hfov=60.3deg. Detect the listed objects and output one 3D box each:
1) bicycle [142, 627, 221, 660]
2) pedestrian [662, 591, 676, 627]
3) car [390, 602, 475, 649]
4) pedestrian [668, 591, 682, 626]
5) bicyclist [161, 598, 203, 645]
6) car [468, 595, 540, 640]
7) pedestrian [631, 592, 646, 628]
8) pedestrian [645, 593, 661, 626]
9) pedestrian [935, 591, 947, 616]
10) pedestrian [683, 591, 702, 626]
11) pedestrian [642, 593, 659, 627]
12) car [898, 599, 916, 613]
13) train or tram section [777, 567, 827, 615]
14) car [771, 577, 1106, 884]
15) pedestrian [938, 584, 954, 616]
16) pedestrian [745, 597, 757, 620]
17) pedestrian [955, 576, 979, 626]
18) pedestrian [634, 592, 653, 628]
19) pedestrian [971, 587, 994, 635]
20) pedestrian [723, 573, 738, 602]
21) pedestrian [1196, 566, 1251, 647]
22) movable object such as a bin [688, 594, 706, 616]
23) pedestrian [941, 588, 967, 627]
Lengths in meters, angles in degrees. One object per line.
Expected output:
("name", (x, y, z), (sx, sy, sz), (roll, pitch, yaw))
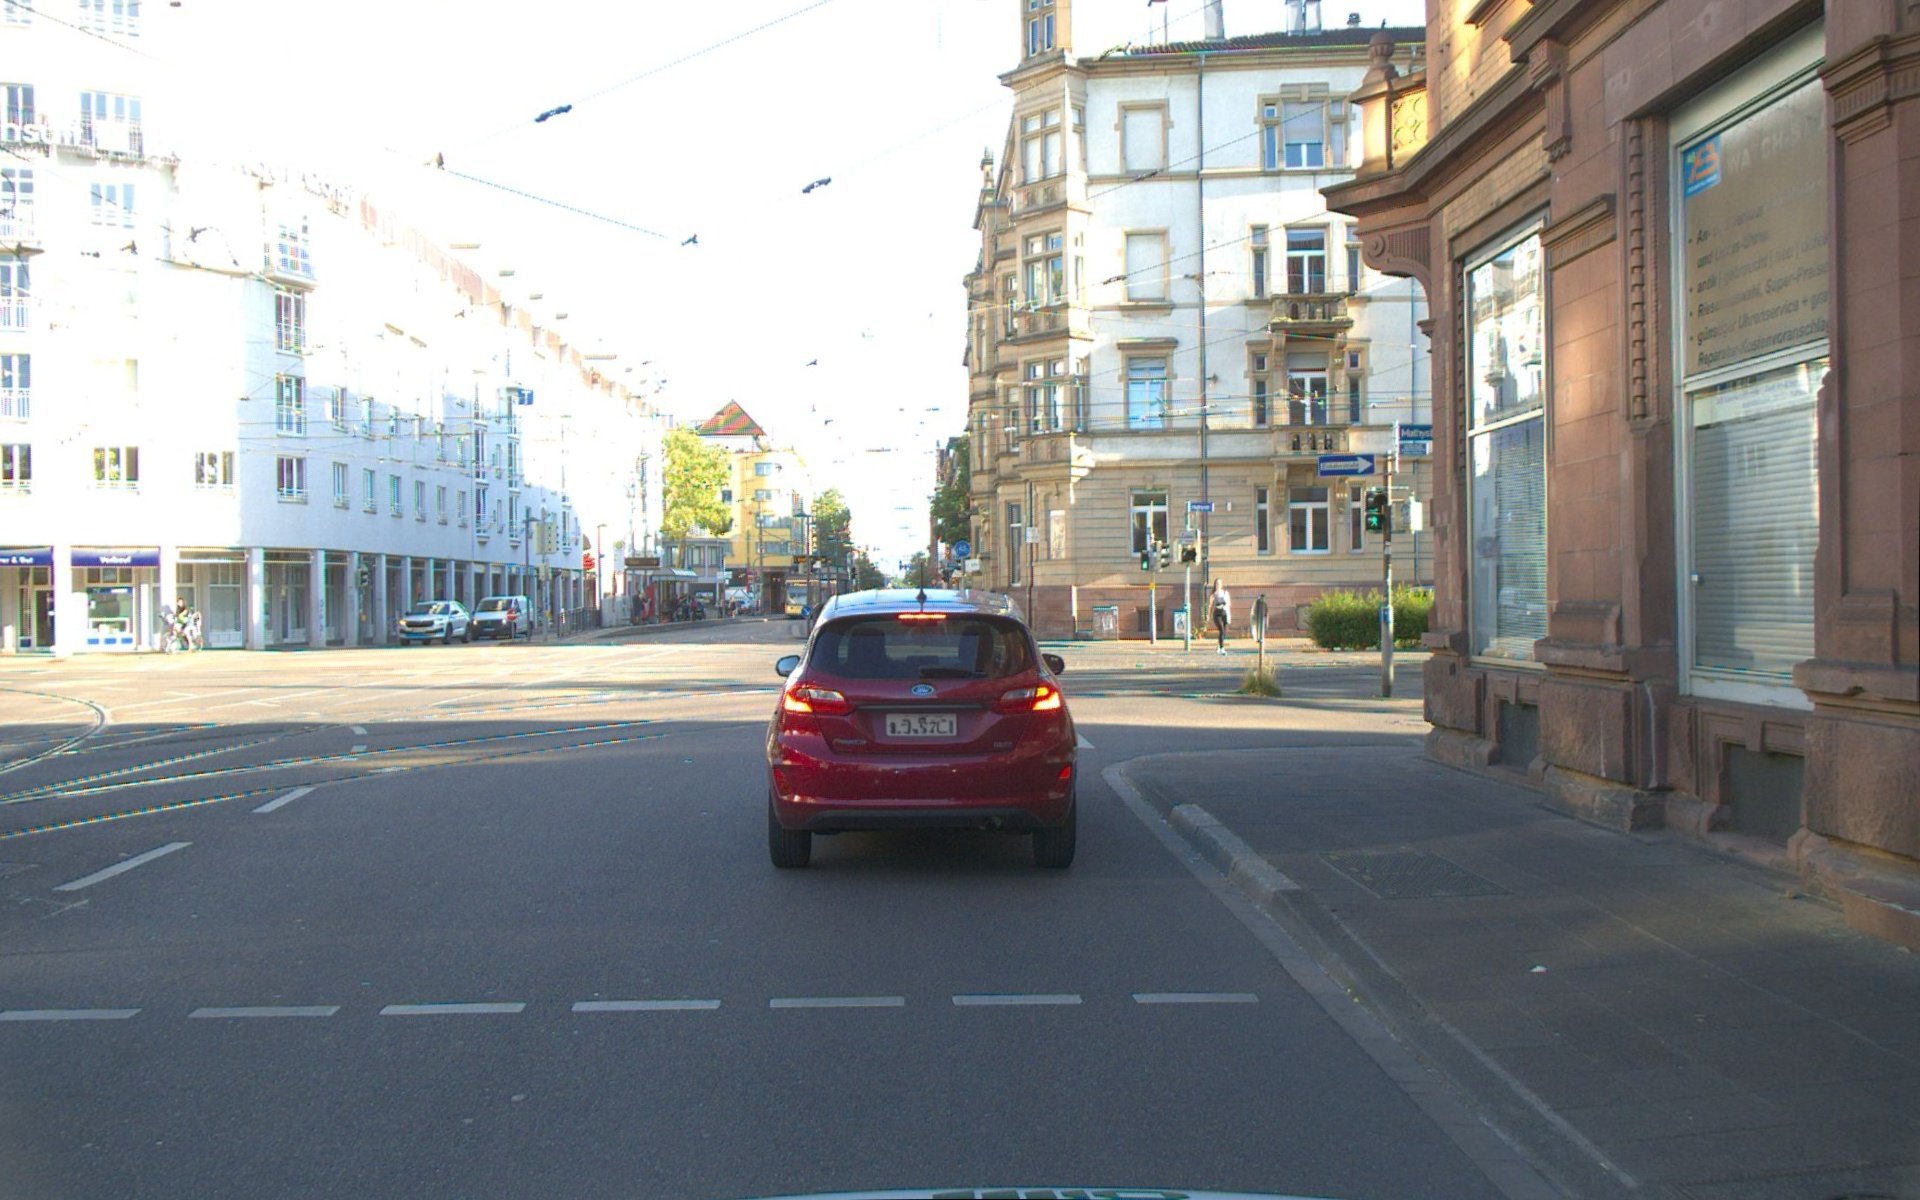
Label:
("bicycle", (-25.122, 1.400, 53.416), (0.824, 0.943, 2.262), (-1, 0, 28))
("pedestrian", (-15.914, 0.474, 90.465), (0.682, 1.938, 0.671), (-1, 0, -4))
("car", (-20.285, 0.942, 63.819), (1.953, 1.648, 4.508), (-2, 0, -2))
("pedestrian", (-15.720, 0.478, 91.170), (0.682, 1.938, 0.671), (-1, 0, -4))
("bicyclist", (-25.133, 0.698, 53.429), (0.824, 1.493, 0.895), (-1, 0, 28))
("car", (-20.603, 0.752, 74.944), (1.953, 1.869, 5.344), (-2, 0, -2))
("pedestrian", (-15.638, 0.477, 80.404), (0.586, 1.721, 0.613), (-1, 0, -2))
("pedestrian", (-16.049, 0.507, 86.435), (0.687, 1.721, 0.667), (-1, 0, -25))
("pedestrian", (-1.431, 0.270, 125.110), (0.699, 1.805, 0.772), (-4, 1, -5))
("pedestrian", (-14.984, 0.489, 92.604), (0.913, 1.938, 0.880), (-1, 0, -4))
("pedestrian", (-15.865, 0.499, 84.692), (0.687, 1.721, 0.667), (-1, 0, -25))
("car", (-5.971, 0.625, 185.529), (1.953, 1.475, 3.999), (-1, 0, -2))
("train or tram section", (-12.675, -0.723, 133.843), (2.826, 3.551, 14.165), (-2, 0, -1))
("car", (-0.114, 0.647, 10.054), (1.657, 1.521, 3.580), (1, 0, 0))
("pedestrian", (-0.781, -0.009, 90.848), (0.747, 1.674, 0.832), (-3, 1, -2))
("pedestrian", (-18.383, 0.752, 145.138), (0.864, 1.938, 0.930), (-1, 0, -18))
("pedestrian", (0.264, 0.043, 60.496), (0.778, 1.751, 0.719), (-3, -1, 0))
("pedestrian", (-15.787, 0.487, 82.456), (0.752, 1.763, 0.517), (-2, -1, 40))
("pedestrian", (0.907, 0.434, 66.162), (0.785, 1.855, 0.797), (-3, 1, -2))
("pedestrian", (-15.475, -0.821, 111.420), (0.864, 1.938, 0.930), (-1, 0, -18))
("pedestrian", (6.182, 0.142, 38.875), (1.003, 1.838, 1.082), (-2, 0, -5))
("movable object such as a bin", (-15.724, 0.286, 98.847), (0.919, 1.309, 0.934), (-1, 0, -4))
("pedestrian", (-0.225, 0.279, 59.954), (0.780, 1.354, 0.717), (-3, -1, -12))
